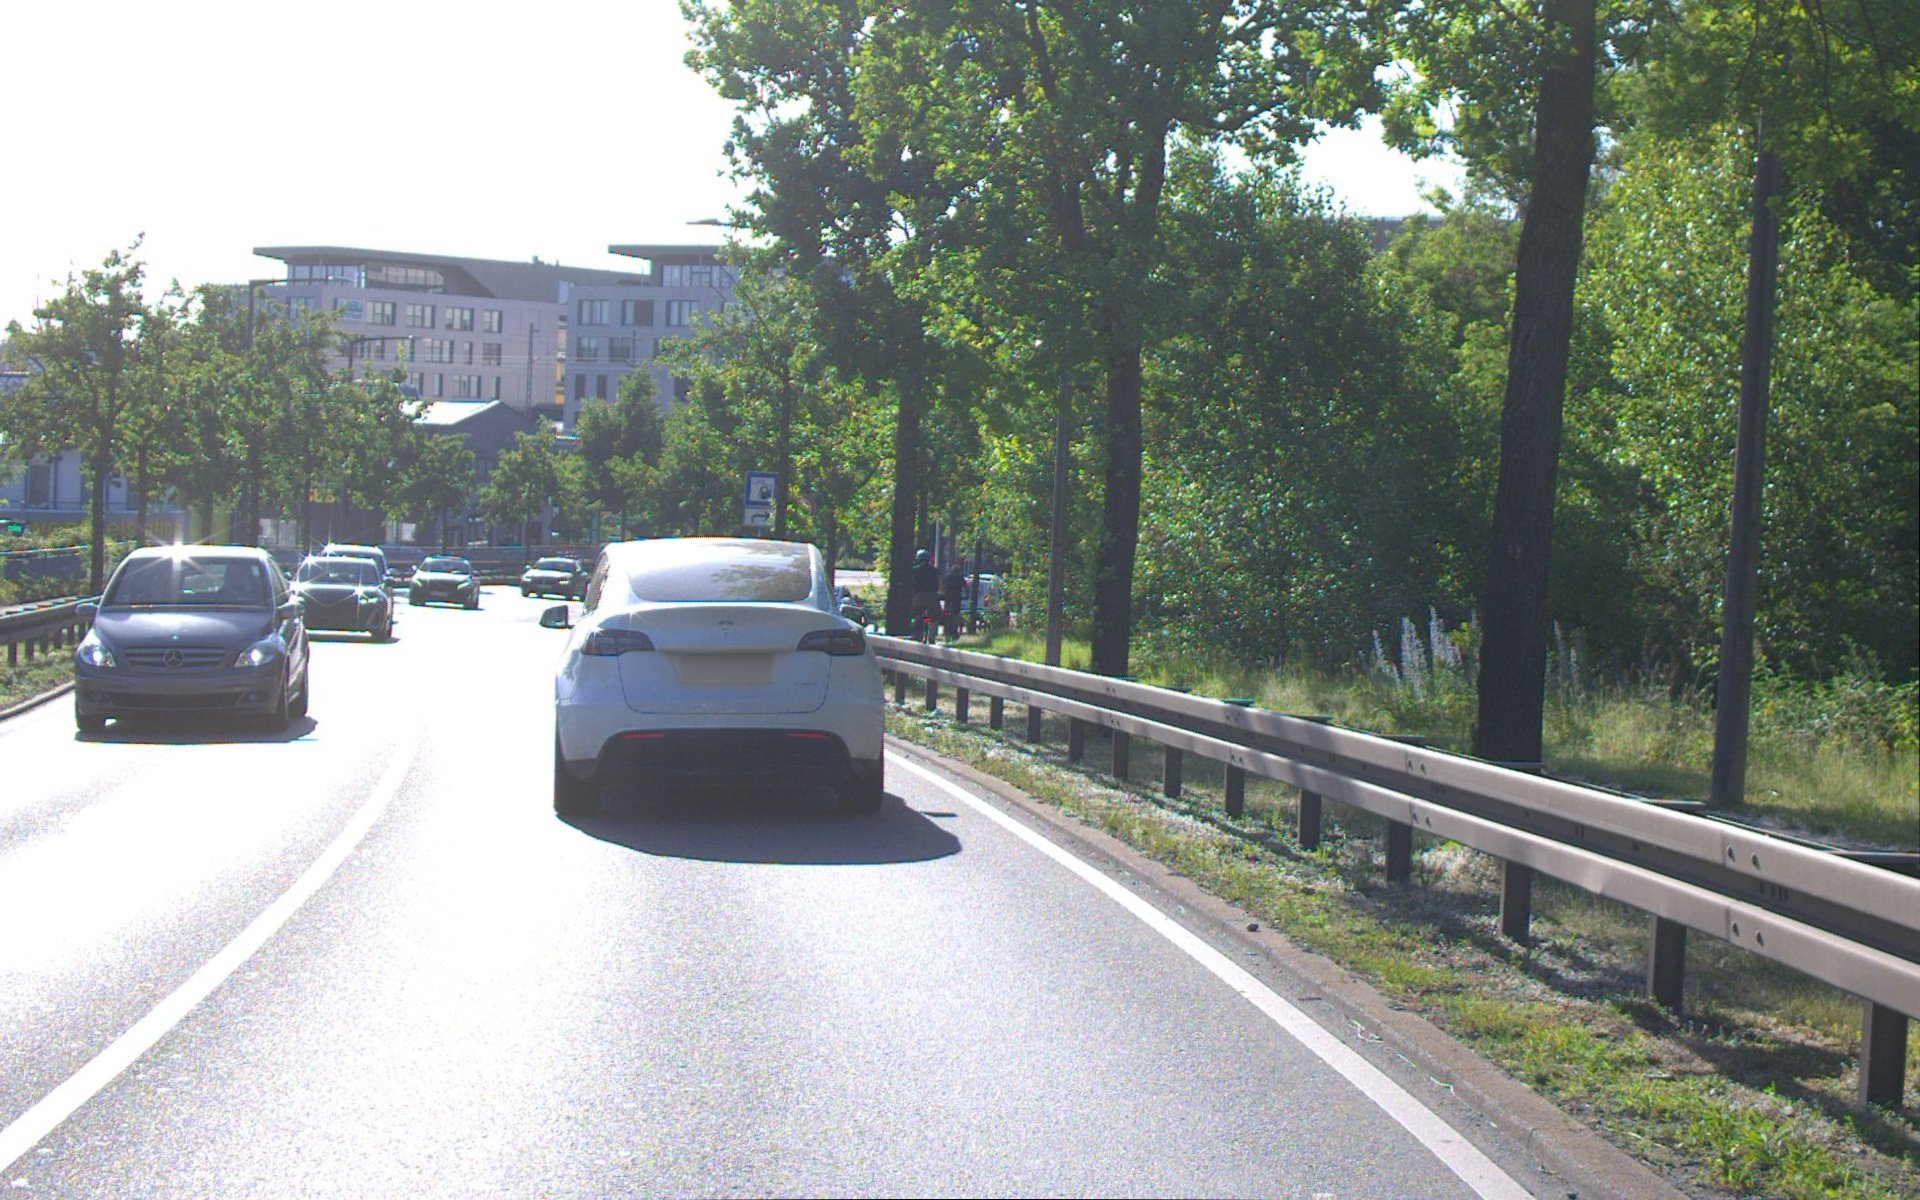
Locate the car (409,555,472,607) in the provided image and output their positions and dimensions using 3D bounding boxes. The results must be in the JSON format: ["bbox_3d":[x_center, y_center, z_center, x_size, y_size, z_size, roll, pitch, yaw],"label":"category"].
[{"bbox_3d":[-15.137,-0.573,100.301,1.691,1.436,4.217,1,1,-7],"label":"car"}]

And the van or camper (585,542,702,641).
[{"bbox_3d":[-6.350,-0.201,69.415,1.958,1.877,4.880,1,1,-1],"label":"van or camper"}]

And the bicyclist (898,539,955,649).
[{"bbox_3d":[-0.488,-0.082,50.615,0.707,1.573,1.004,1,-2,5],"label":"bicyclist"}]

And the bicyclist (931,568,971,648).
[{"bbox_3d":[-0.199,0.177,76.938,0.675,1.770,0.948,1,1,11],"label":"bicyclist"}]

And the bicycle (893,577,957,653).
[{"bbox_3d":[-0.506,0.230,50.496,0.701,1.071,1.920,1,-1,6],"label":"bicycle"}]

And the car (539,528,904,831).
[{"bbox_3d":[-1.573,0.404,21.095,1.913,1.635,4.411,1,1,-8],"label":"car"}]

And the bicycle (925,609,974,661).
[{"bbox_3d":[-0.223,0.776,76.915,0.695,1.091,2.117,1,1,11],"label":"bicycle"}]

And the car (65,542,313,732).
[{"bbox_3d":[-6.810,0.277,30.702,1.808,1.548,4.141,1,1,-8],"label":"car"}]

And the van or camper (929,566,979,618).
[{"bbox_3d":[-0.260,-0.335,138.194,1.825,1.784,4.545,4,2,-1],"label":"van or camper"}]

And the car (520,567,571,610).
[{"bbox_3d":[-15.292,-0.430,126.973,1.809,1.491,4.370,1,1,-6],"label":"car"}]

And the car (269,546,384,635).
[{"bbox_3d":[-11.333,-0.203,61.734,1.849,1.486,4.718,1,1,-8],"label":"car"}]
